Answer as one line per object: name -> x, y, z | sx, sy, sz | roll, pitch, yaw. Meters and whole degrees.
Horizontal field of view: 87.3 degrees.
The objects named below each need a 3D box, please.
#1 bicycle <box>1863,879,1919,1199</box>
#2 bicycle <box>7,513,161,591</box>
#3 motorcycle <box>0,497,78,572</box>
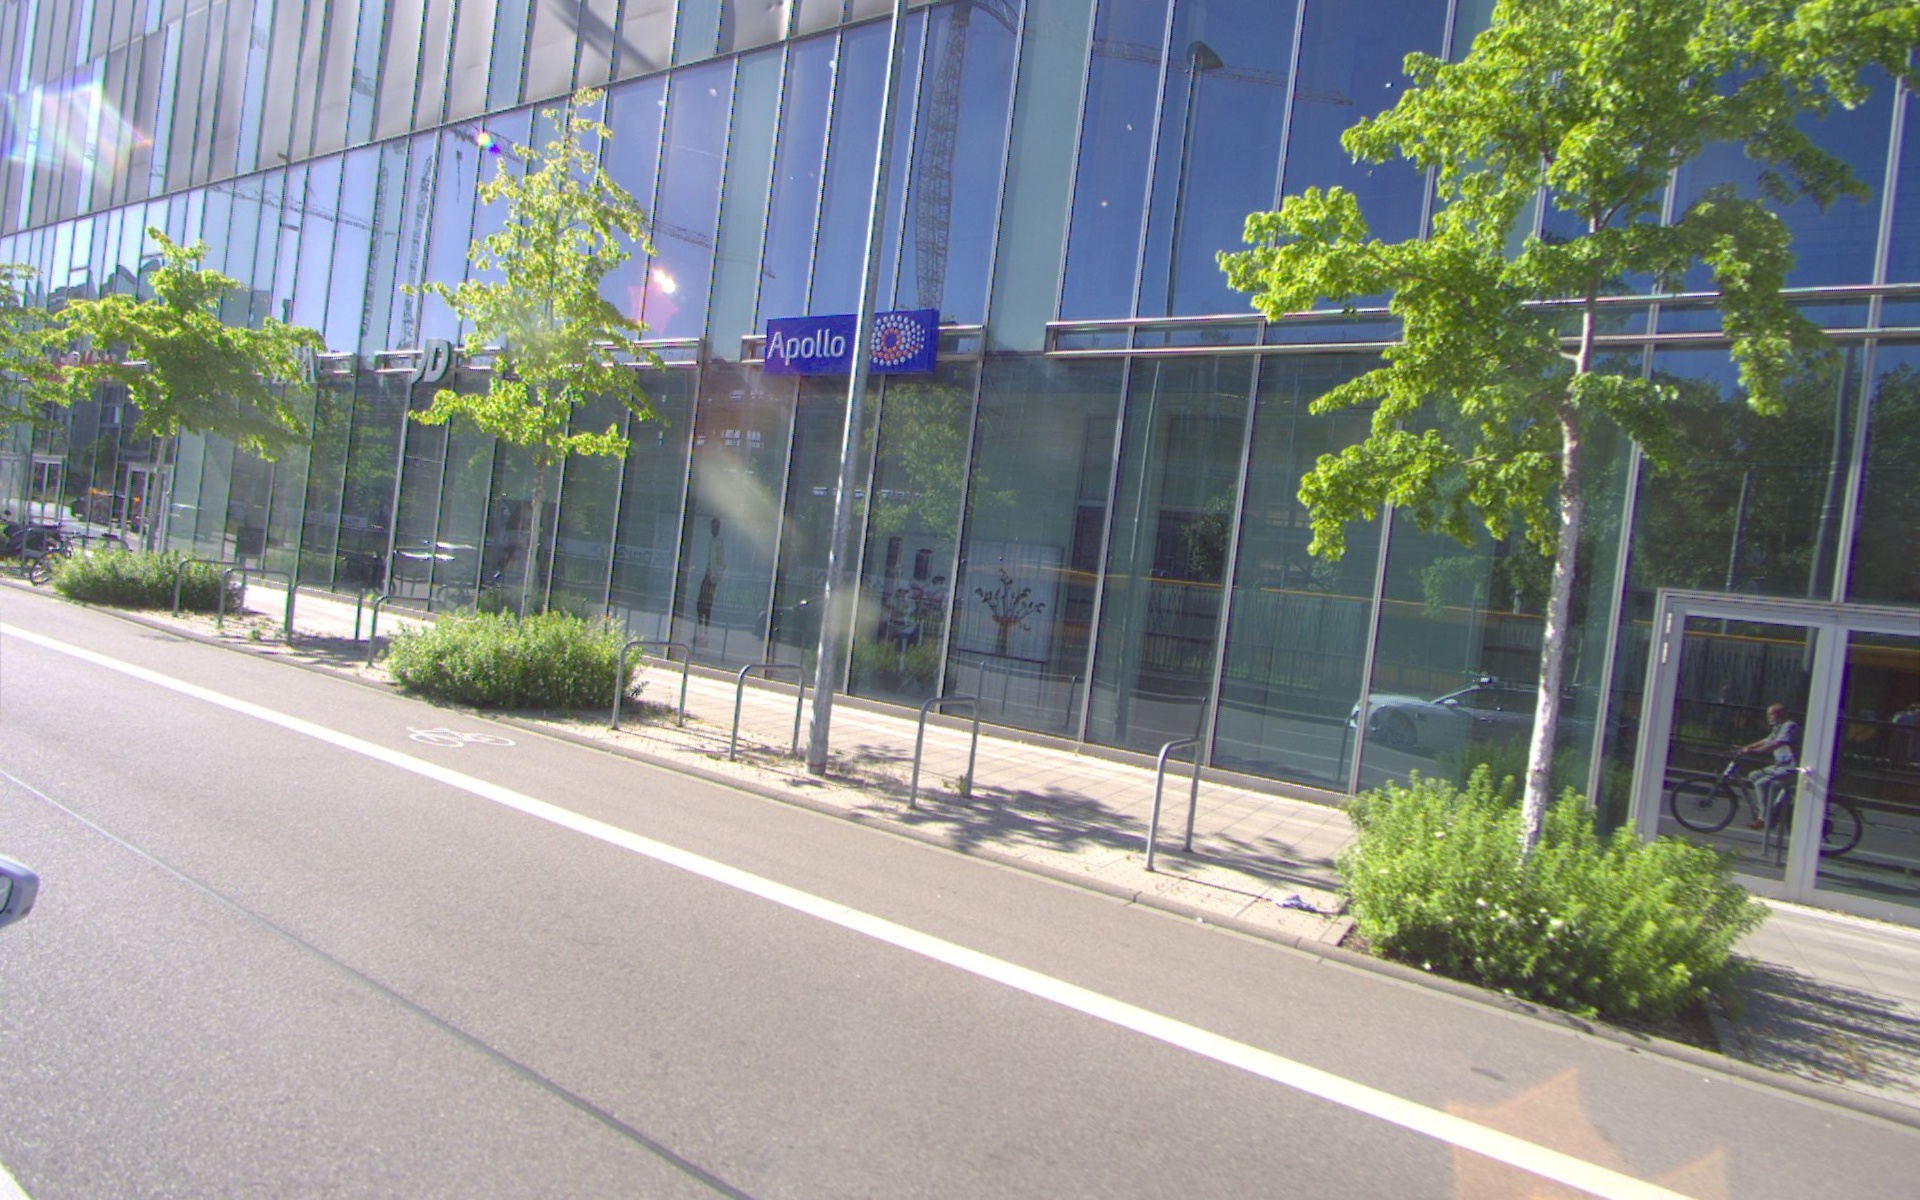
bicycle -> 4.368, 1.654, 3.001 | 2.293, 0.994, 0.731 | 7, -2, 29
bicycle -> -15.236, -0.806, 17.565 | 0.659, 1.166, 1.886 | 7, 1, 22
motorcycle -> -18.984, -1.338, 19.989 | 2.059, 1.371, 0.646 | 5, 2, -35
